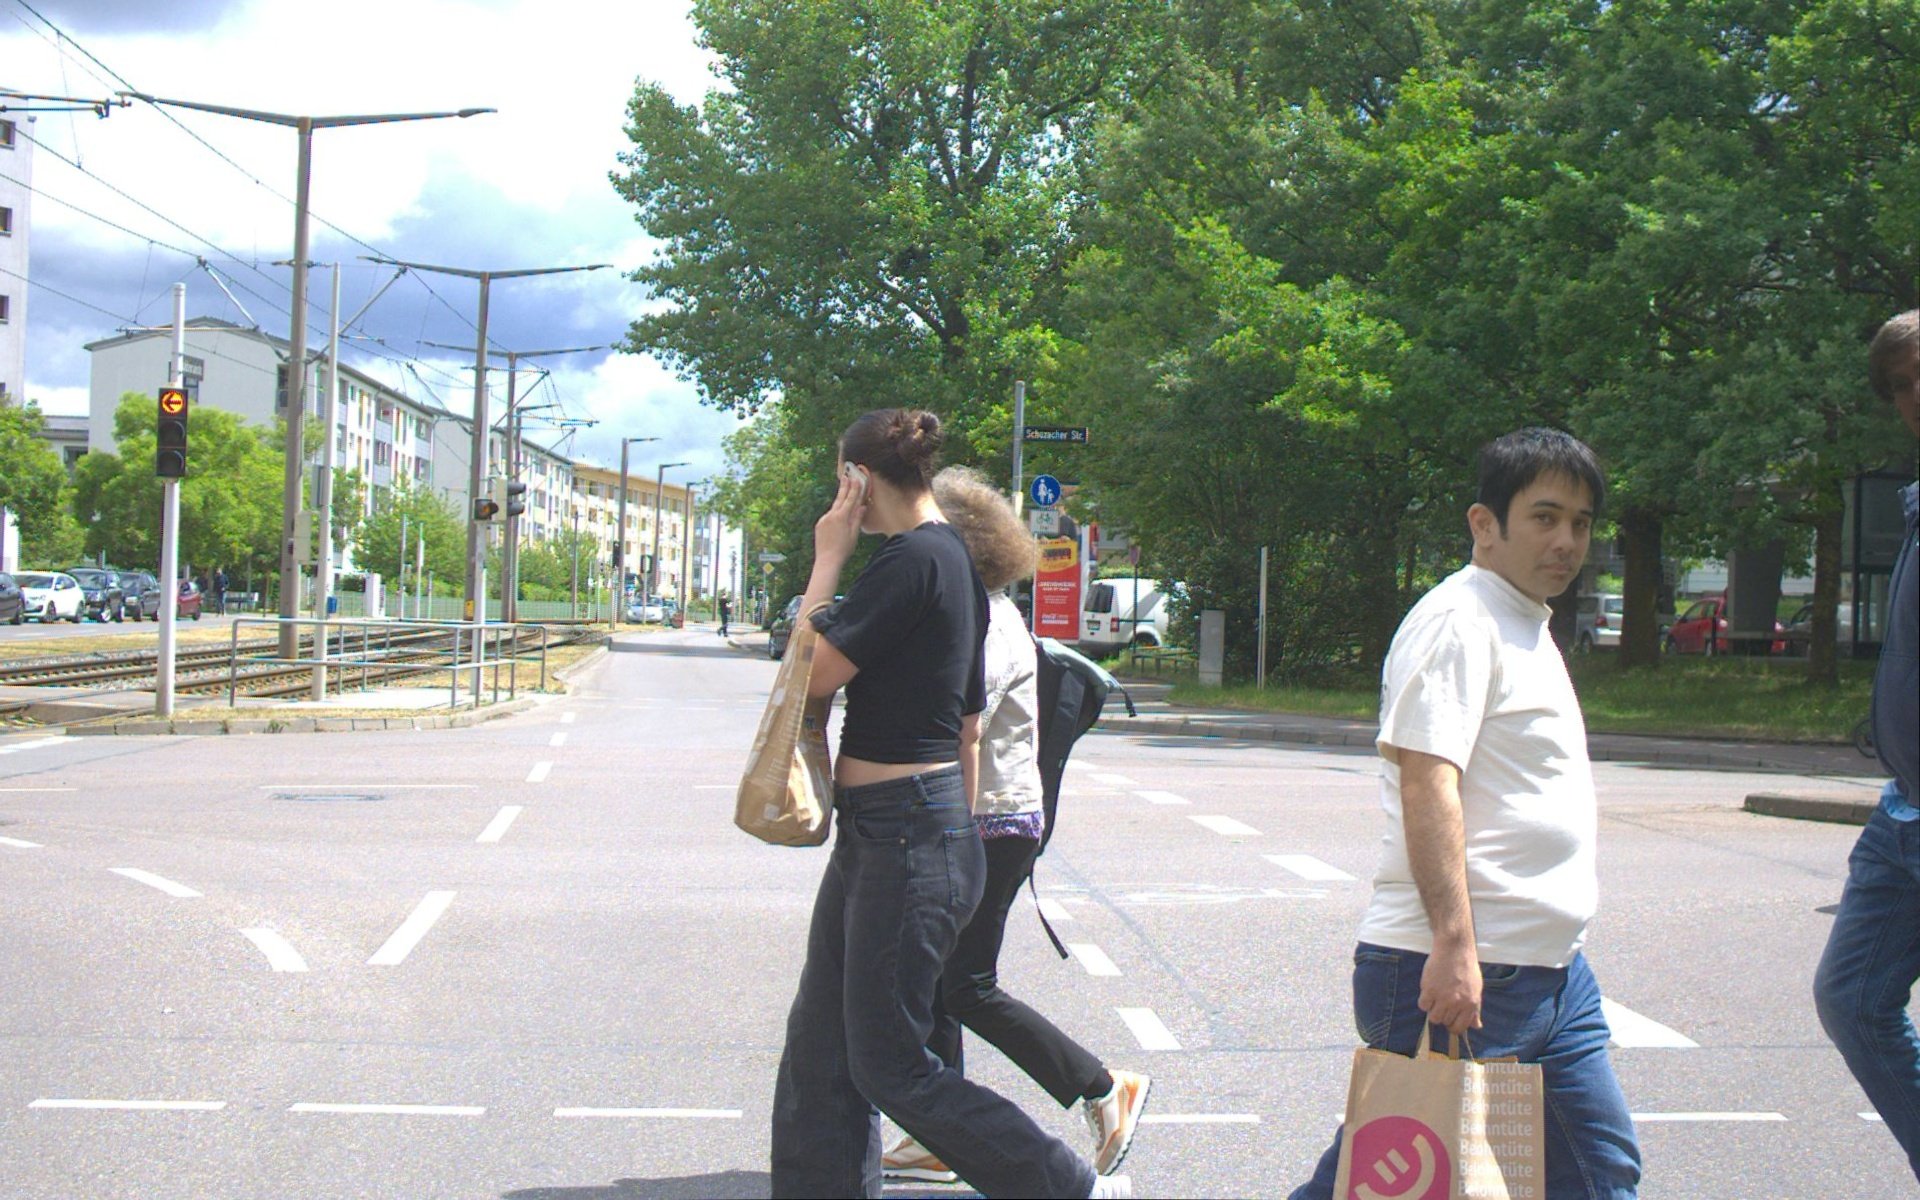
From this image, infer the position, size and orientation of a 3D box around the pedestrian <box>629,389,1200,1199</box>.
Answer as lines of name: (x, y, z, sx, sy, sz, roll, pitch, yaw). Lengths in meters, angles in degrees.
pedestrian: (-0.113, 0.506, 6.581, 0.933, 1.759, 0.772, 1, 1, -12)

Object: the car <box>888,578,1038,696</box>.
car: (0.026, 0.541, 51.782, 2.152, 1.678, 4.000, 1, 0, -1)

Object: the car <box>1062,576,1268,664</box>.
car: (4.372, 0.426, 73.306, 3.986, 1.817, 1.779, 1, 1, -23)

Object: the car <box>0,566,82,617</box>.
car: (-26.284, -0.248, 98.371, 1.760, 1.390, 4.001, 1, 1, -7)

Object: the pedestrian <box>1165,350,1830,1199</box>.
pedestrian: (0.816, 0.535, 5.466, 0.868, 1.802, 0.742, 1, 1, -4)

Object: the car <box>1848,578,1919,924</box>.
car: (6.001, 0.629, 15.534, 3.988, 1.482, 1.758, 0, 0, -38)

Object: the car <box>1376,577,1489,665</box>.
car: (10.224, 0.429, 74.562, 1.630, 1.804, 4.033, 1, 1, -4)

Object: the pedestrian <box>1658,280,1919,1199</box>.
pedestrian: (1.880, 0.436, 6.223, 0.966, 1.935, 0.897, 1, 1, -5)

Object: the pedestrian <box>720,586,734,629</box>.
pedestrian: (-8.926, 0.270, 131.962, 0.478, 1.631, 0.454, 1, 1, -1)

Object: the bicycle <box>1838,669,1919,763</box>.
bicycle: (9.147, 1.102, 32.550, 0.791, 0.816, 1.808, 1, 1, -16)

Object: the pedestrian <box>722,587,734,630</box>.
pedestrian: (-8.904, 0.332, 131.949, 0.333, 1.622, 0.358, 1, 1, -18)

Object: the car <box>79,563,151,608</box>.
car: (-26.930, -0.478, 109.619, 1.760, 1.390, 4.001, 1, 1, -7)

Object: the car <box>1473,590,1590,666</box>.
car: (12.474, 0.592, 75.268, 1.630, 1.567, 4.033, 1, 1, -4)

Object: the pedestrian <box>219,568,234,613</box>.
pedestrian: (-27.128, -0.358, 127.160, 0.452, 1.631, 0.480, 1, 1, -3)

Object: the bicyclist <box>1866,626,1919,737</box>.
bicyclist: (9.122, 0.772, 32.585, 0.791, 1.019, 0.636, 1, 1, -15)

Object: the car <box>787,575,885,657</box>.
car: (-2.666, 0.323, 74.574, 1.993, 1.678, 4.000, 1, 1, -1)

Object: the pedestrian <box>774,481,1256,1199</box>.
pedestrian: (0.151, 0.570, 8.066, 0.953, 1.668, 0.870, 0, 0, 15)

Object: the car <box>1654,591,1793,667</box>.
car: (17.061, 0.630, 77.003, 1.730, 1.589, 4.001, 1, 1, -8)

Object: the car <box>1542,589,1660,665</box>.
car: (14.251, 0.578, 76.642, 1.630, 1.589, 4.001, 1, 1, -4)

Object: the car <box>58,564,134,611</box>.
car: (-26.373, -0.393, 105.056, 1.760, 1.390, 4.001, 1, 1, -7)

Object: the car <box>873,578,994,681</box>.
car: (-0.464, 0.502, 59.229, 1.993, 1.678, 4.000, 1, 0, -1)

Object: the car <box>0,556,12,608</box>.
car: (-26.293, -0.485, 90.997, 1.760, 1.390, 4.001, 1, 1, -7)
